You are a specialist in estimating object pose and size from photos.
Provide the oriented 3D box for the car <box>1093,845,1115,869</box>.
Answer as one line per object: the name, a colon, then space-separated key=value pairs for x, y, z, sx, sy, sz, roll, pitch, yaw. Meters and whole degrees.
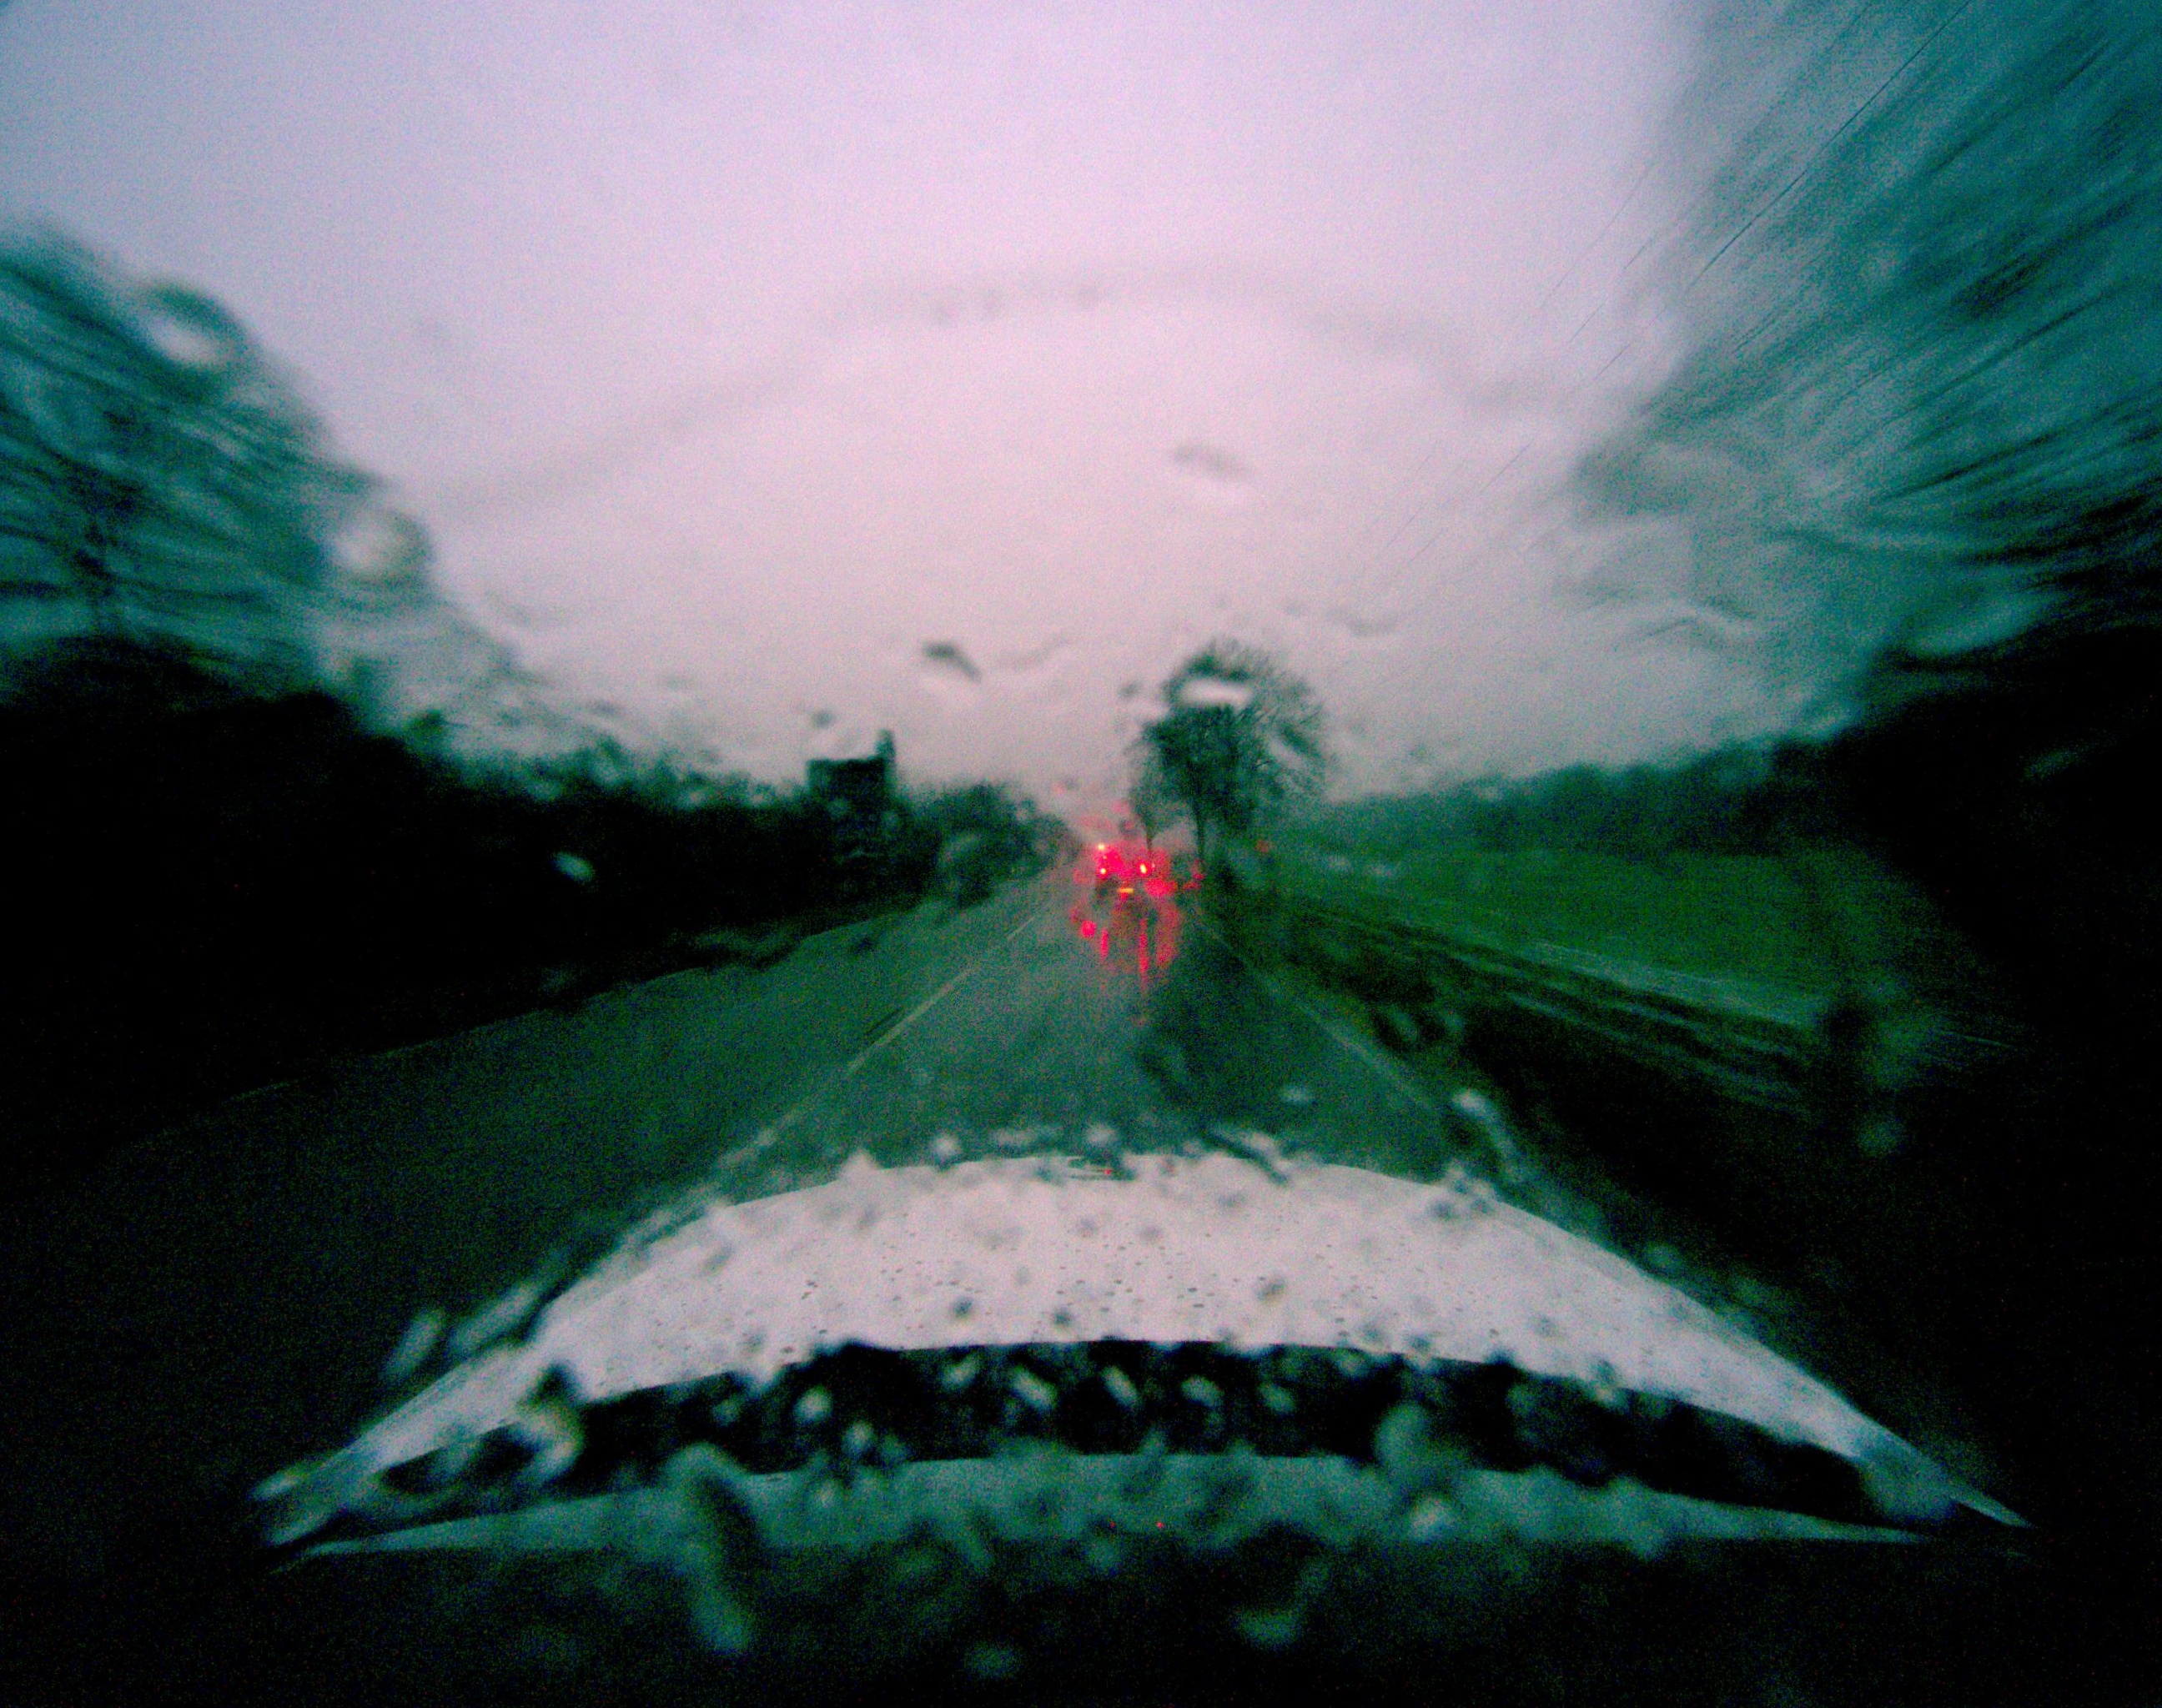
car: x=2.349 y=0.311 z=82.006 sx=1.985 sy=2.012 sz=4.006 roll=3 pitch=4 yaw=3

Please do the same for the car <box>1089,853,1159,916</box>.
car: x=1.337 y=0.897 z=25.723 sx=1.986 sy=1.752 sz=4.002 roll=-1 pitch=0 yaw=2
